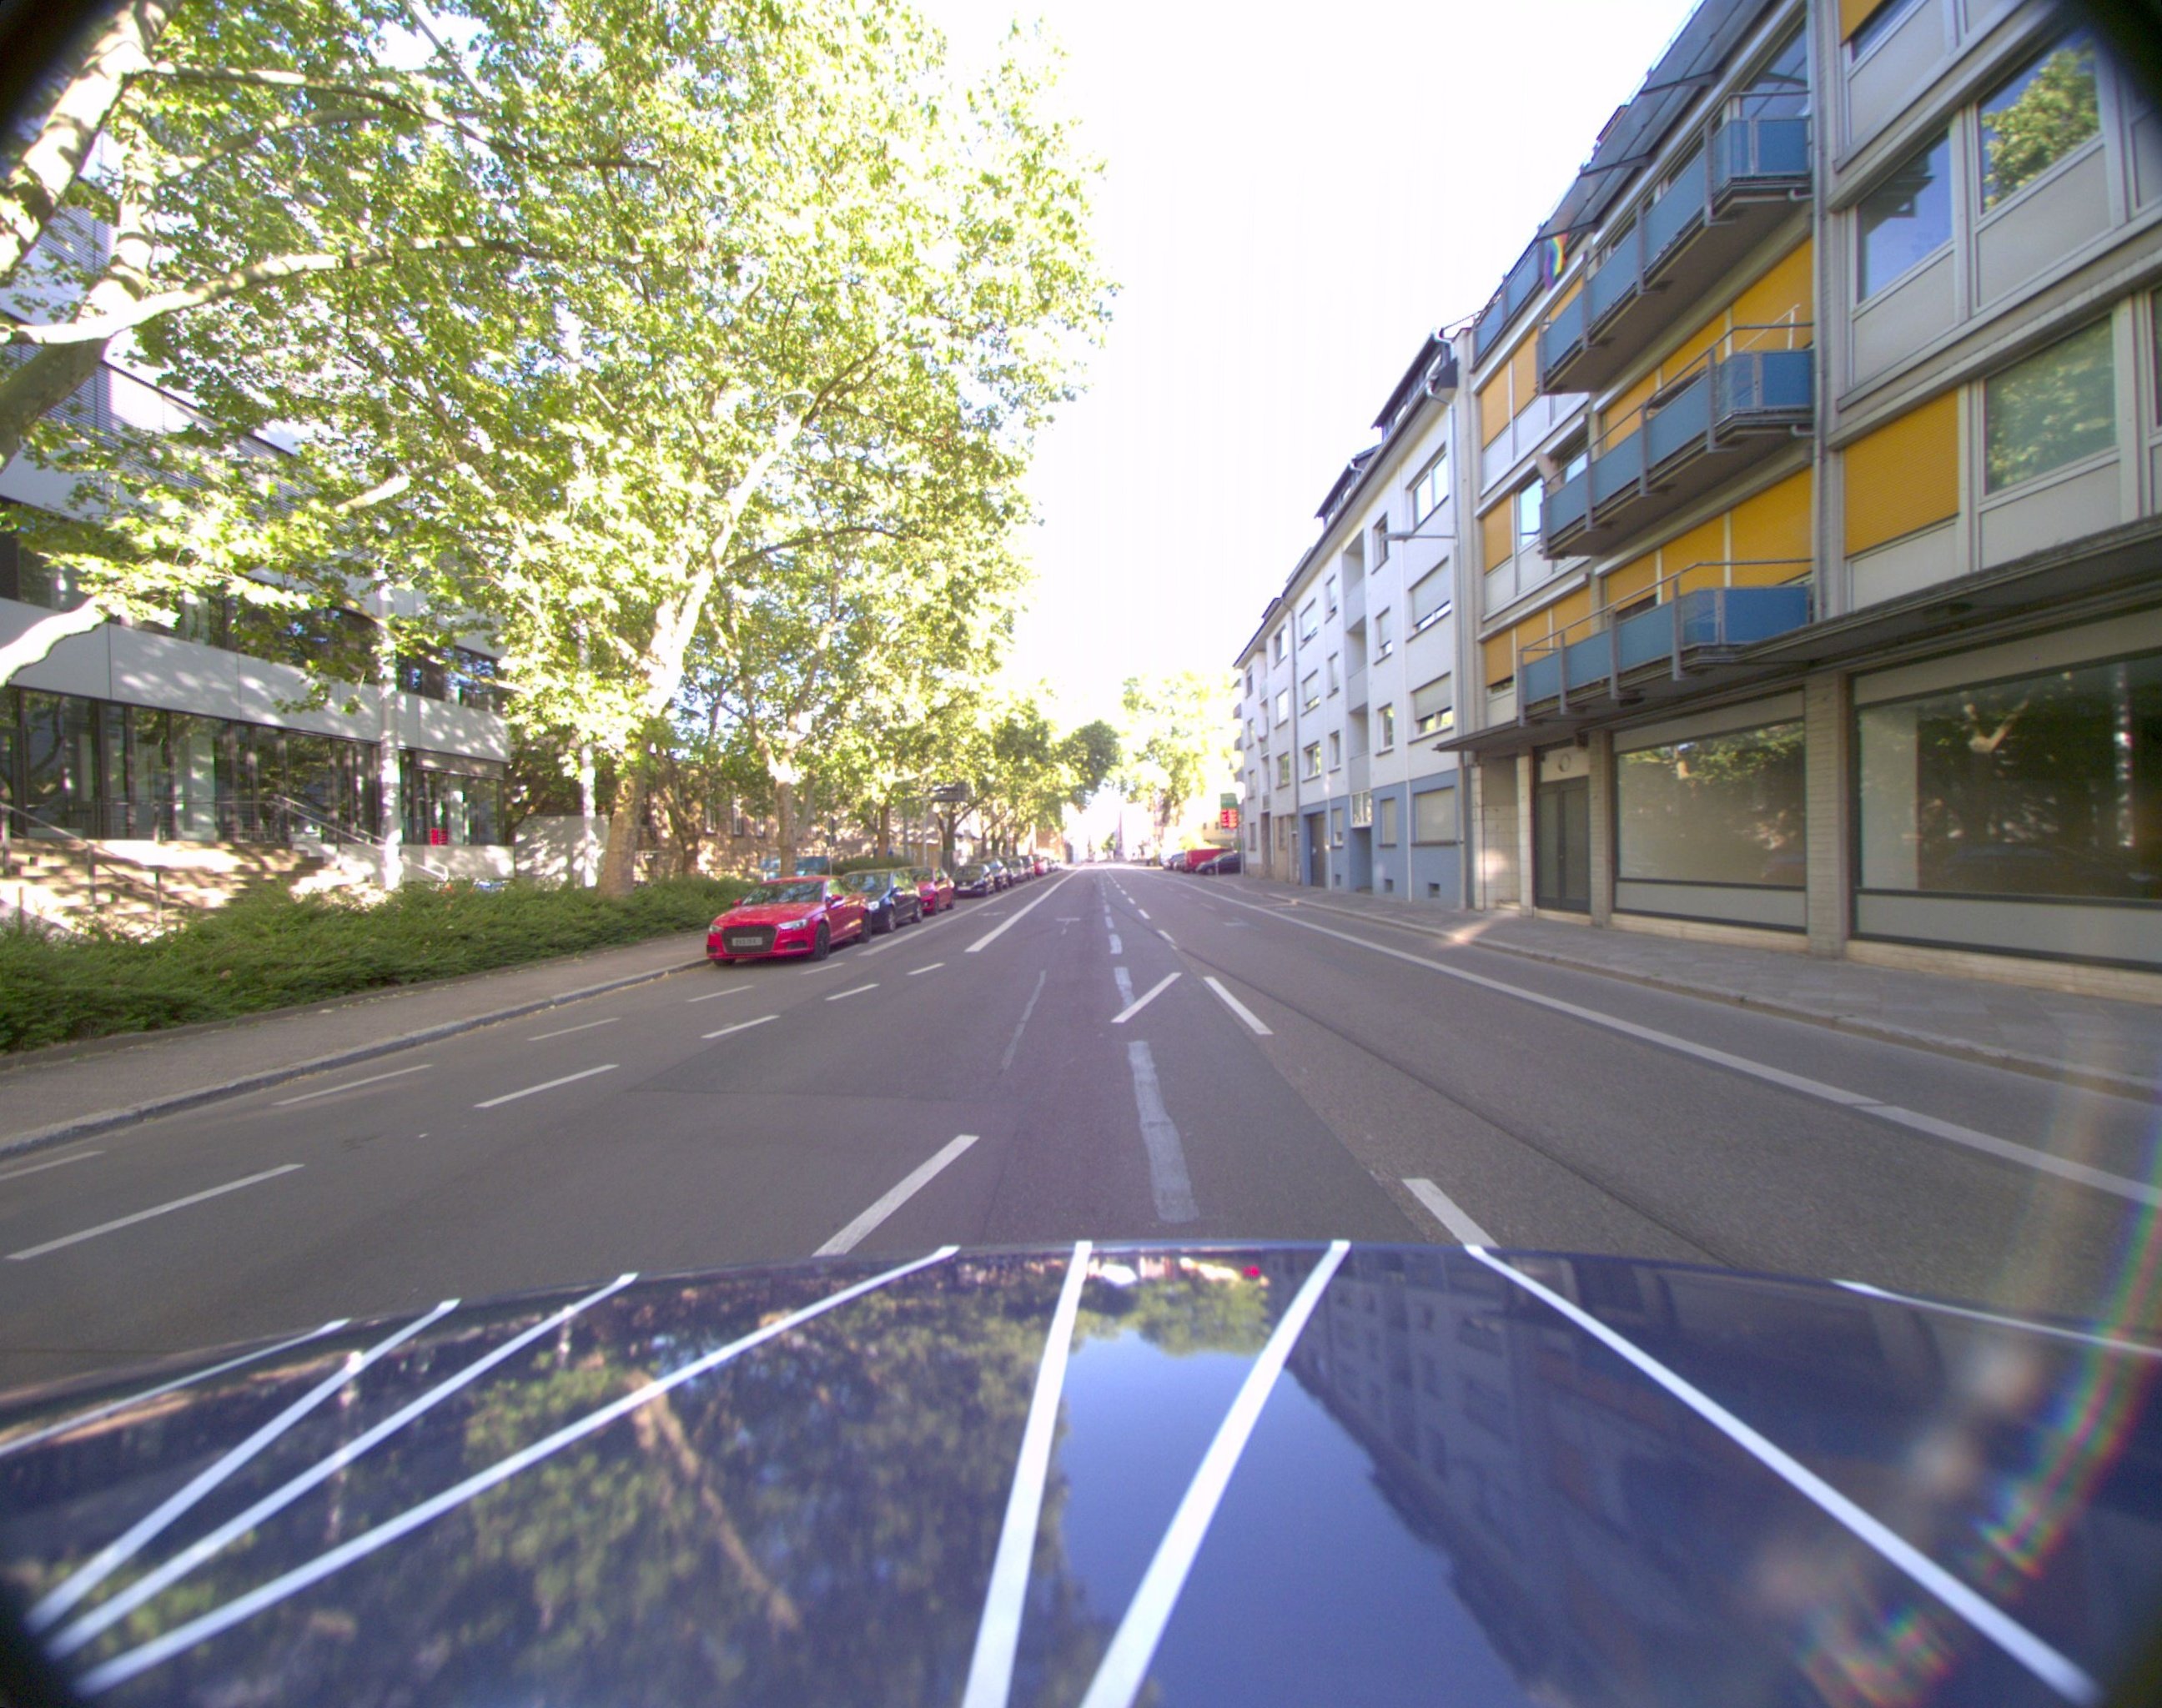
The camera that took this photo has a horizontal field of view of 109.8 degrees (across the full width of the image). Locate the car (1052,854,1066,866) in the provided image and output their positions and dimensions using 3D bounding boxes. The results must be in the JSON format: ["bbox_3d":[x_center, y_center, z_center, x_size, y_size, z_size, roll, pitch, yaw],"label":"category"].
[{"bbox_3d":[-2.939,0.820,102.920,1.707,1.459,3.809,-1,0,0],"label":"car"}]

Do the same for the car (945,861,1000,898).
[{"bbox_3d":[-4.683,1.085,33.264,1.745,1.430,4.000,-1,0,1],"label":"car"}]

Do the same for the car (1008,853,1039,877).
[{"bbox_3d":[-4.174,0.754,55.511,1.831,1.608,4.177,-1,0,1],"label":"car"}]

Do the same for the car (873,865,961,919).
[{"bbox_3d":[-4.989,1.102,23.639,1.790,1.429,4.000,-1,0,1],"label":"car"}]

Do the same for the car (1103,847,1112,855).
[{"bbox_3d":[6.762,-0.784,193.462,1.998,2.002,3.999,-2,1,1],"label":"car"}]

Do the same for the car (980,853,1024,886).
[{"bbox_3d":[-4.551,0.871,44.193,1.998,1.715,4.262,-2,1,1],"label":"car"}]

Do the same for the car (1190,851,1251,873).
[{"bbox_3d":[10.063,0.585,54.949,3.997,1.385,1.781,-2,1,-1],"label":"car"}]

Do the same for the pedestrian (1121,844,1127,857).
[{"bbox_3d":[10.876,-0.935,194.211,1.358,3.172,1.897,-2,1,1],"label":"pedestrian"}]

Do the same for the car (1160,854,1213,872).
[{"bbox_3d":[8.709,0.740,62.720,4.033,1.265,1.906,-2,1,-1],"label":"car"}]

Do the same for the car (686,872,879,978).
[{"bbox_3d":[-5.095,1.127,13.648,1.775,1.416,4.173,-3,0,0],"label":"car"}]

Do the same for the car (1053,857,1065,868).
[{"bbox_3d":[-2.633,1.033,92.466,1.300,1.220,3.241,-1,0,0],"label":"car"}]

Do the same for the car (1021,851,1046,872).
[{"bbox_3d":[-4.113,0.619,66.180,1.876,1.685,4.166,-1,0,1],"label":"car"}]

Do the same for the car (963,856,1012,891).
[{"bbox_3d":[-4.628,0.924,38.210,1.848,1.572,4.232,-1,0,1],"label":"car"}]

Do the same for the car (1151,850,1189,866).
[{"bbox_3d":[9.481,0.385,80.860,3.728,1.579,1.743,-2,1,-5],"label":"car"}]

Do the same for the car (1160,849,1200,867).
[{"bbox_3d":[9.875,0.393,75.911,3.658,1.578,1.659,-2,1,-5],"label":"car"}]

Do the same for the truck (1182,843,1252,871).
[{"bbox_3d":[10.722,0.249,60.096,5.088,2.009,2.000,-2,1,0],"label":"truck"}]

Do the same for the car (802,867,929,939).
[{"bbox_3d":[-5.065,1.100,18.467,1.813,1.449,4.000,-1,0,2],"label":"car"}]

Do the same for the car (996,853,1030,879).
[{"bbox_3d":[-4.446,0.743,50.454,1.798,1.608,4.075,-1,0,1],"label":"car"}]

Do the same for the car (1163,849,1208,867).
[{"bbox_3d":[10.076,0.372,73.362,3.998,1.618,1.702,-2,1,-5],"label":"car"}]

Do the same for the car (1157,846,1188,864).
[{"bbox_3d":[10.224,0.119,85.231,3.267,1.927,1.693,-2,1,2],"label":"car"}]

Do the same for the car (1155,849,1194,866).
[{"bbox_3d":[9.610,0.389,78.569,3.703,1.573,1.718,-2,1,-5],"label":"car"}]
